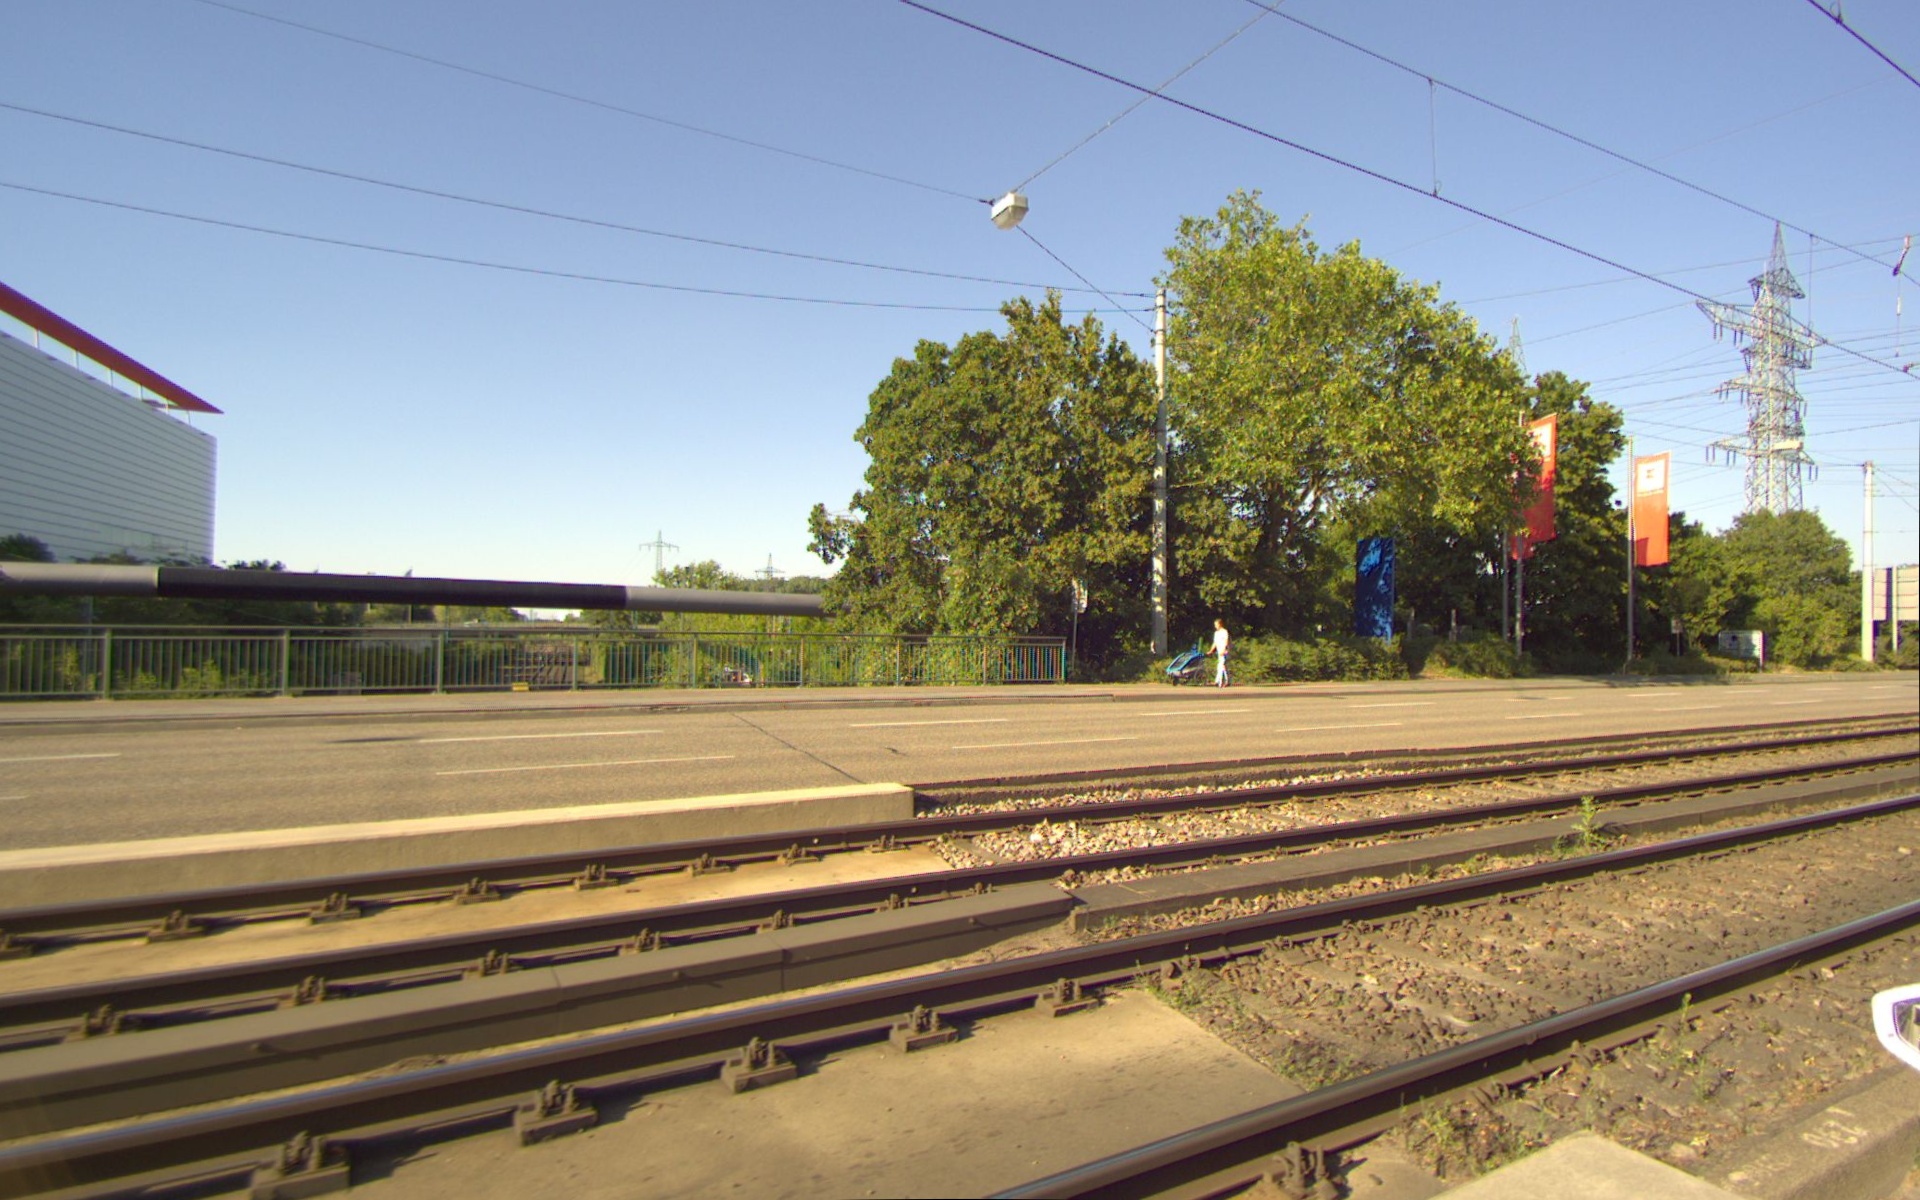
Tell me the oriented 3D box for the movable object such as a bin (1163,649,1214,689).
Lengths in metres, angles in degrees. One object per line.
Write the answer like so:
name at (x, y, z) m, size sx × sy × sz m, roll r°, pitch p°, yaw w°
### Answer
movable object such as a bin at (6.086, 1.843, 26.787) m, size 1.081 × 0.974 × 0.725 m, roll 3°, pitch 1°, yaw -9°

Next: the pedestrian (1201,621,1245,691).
pedestrian at (7.046, 1.496, 26.926) m, size 0.820 × 1.779 × 0.725 m, roll 3°, pitch 1°, yaw -8°
